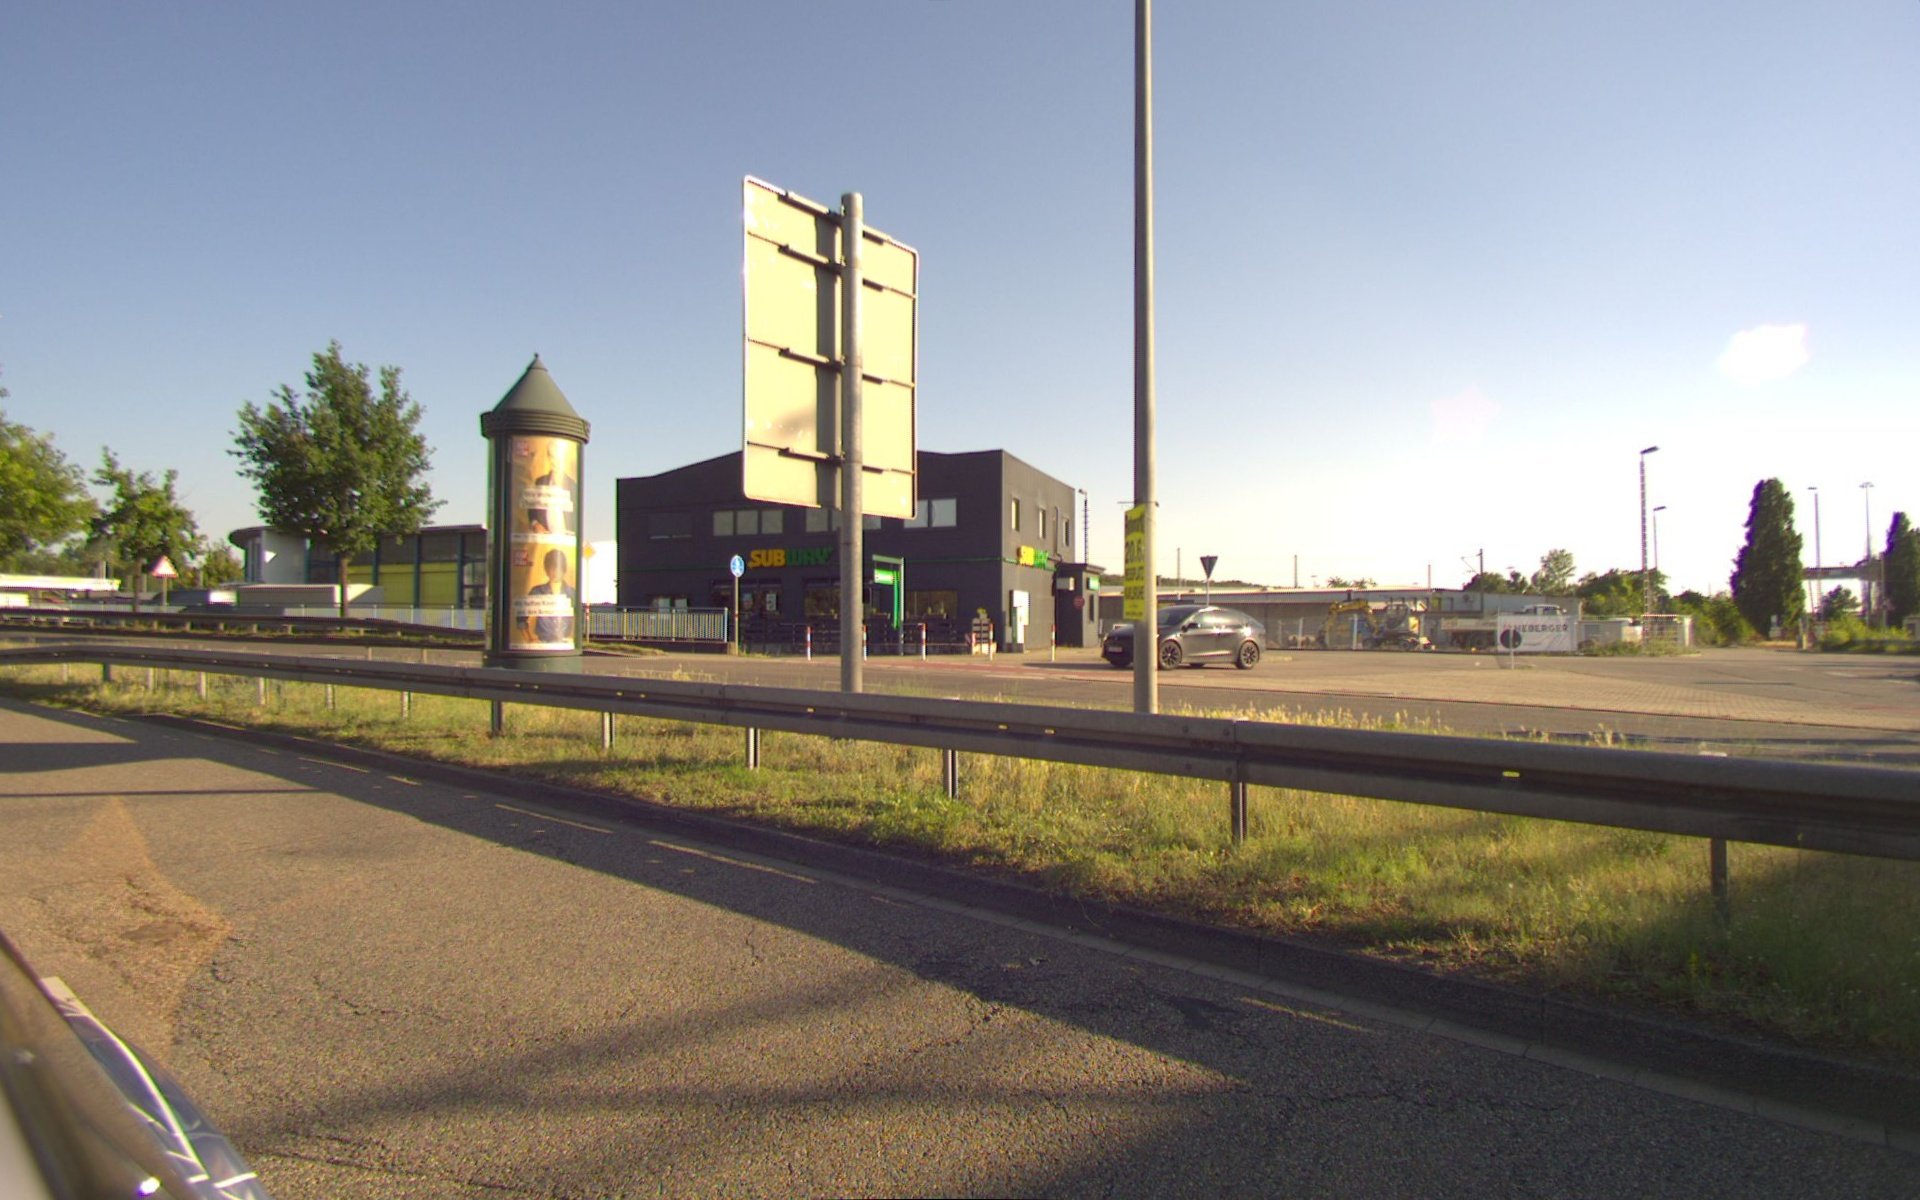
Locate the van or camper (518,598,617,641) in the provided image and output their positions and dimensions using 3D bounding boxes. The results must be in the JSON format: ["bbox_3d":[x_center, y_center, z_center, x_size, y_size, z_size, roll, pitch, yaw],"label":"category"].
[{"bbox_3d":[-19.267,0.959,49.744,4.157,1.940,2.006,2,-1,-32],"label":"van or camper"}]

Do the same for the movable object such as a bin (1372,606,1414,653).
[{"bbox_3d":[25.974,1.729,60.703,2.210,2.735,1.723,0,-1,28],"label":"movable object such as a bin"}]

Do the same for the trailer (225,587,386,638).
[{"bbox_3d":[-27.825,0.499,43.012,6.560,1.985,2.410,1,0,22],"label":"trailer"}]

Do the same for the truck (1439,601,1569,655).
[{"bbox_3d":[33.989,1.715,63.393,6.696,3.168,2.434,1,-1,6],"label":"truck"}]

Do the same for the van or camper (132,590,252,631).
[{"bbox_3d":[-34.570,0.460,45.551,4.924,1.698,1.986,1,0,21],"label":"van or camper"}]

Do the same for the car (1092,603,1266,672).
[{"bbox_3d":[5.753,0.936,26.421,4.442,1.676,1.797,1,-1,-32],"label":"car"}]
